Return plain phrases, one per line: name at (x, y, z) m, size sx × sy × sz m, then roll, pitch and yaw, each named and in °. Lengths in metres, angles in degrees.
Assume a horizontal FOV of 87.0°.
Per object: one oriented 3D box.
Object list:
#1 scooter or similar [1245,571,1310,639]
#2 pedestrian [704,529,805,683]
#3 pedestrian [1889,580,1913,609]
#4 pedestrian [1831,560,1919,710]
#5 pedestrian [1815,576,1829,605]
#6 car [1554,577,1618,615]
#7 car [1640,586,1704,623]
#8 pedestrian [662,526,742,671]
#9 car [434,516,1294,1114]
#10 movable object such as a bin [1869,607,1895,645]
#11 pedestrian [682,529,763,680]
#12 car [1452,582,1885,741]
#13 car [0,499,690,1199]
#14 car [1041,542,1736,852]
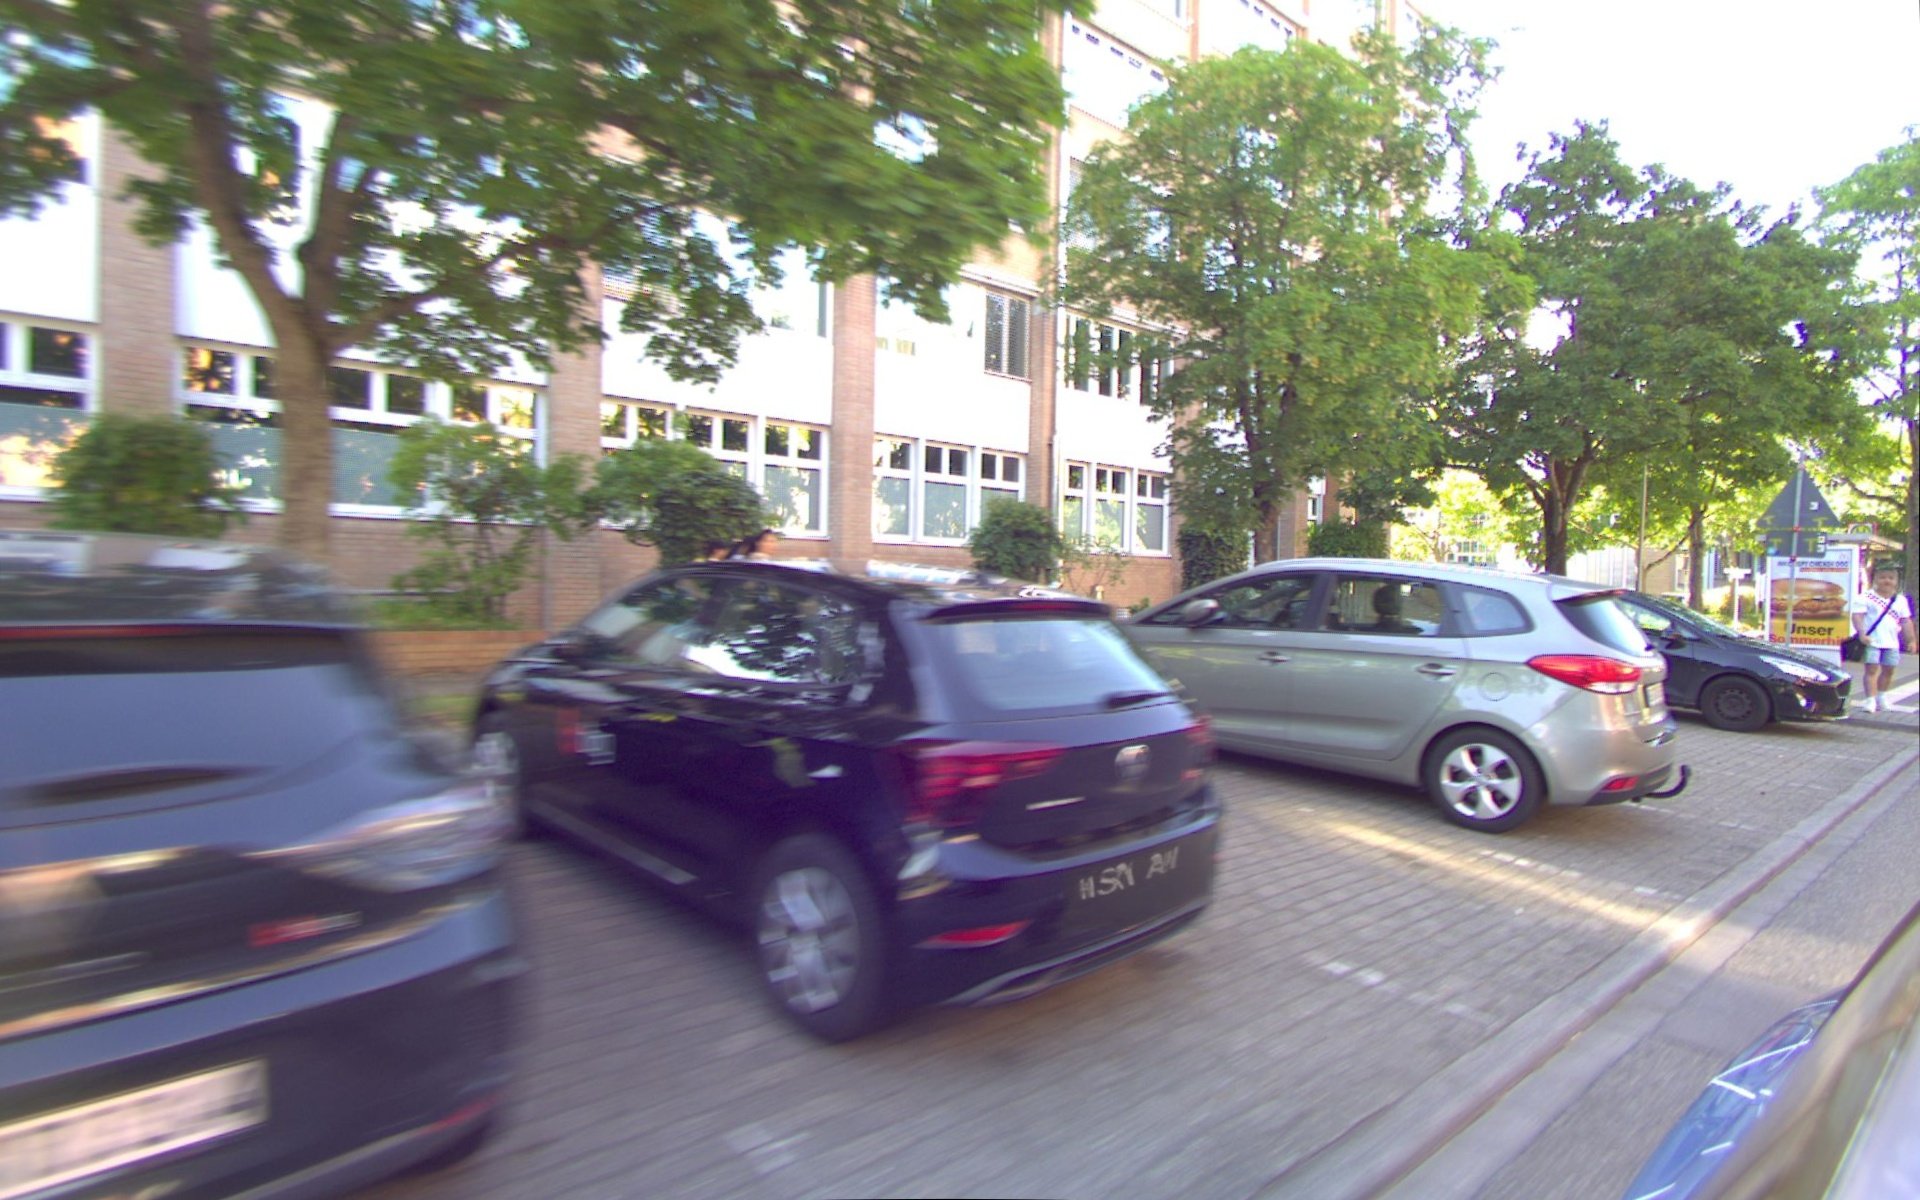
scooter or similar at (6.494, 0.089, 20.656) m, size 0.549 × 1.342 × 1.777 m, roll 0°, pitch 0°, yaw 44°
pedestrian at (-2.073, 0.044, 10.204) m, size 0.703 × 1.476 × 0.701 m, roll 1°, pitch 2°, yaw -43°
pedestrian at (60.456, -0.338, 65.007) m, size 1.001 × 1.821 × 1.036 m, roll 0°, pitch 0°, yaw -41°
pedestrian at (11.353, 0.410, 12.338) m, size 0.916 × 1.731 × 0.689 m, roll 6°, pitch 3°, yaw 36°
pedestrian at (47.666, -0.531, 55.985) m, size 0.537 × 1.602 × 0.639 m, roll 2°, pitch 1°, yaw 40°
car at (25.909, -0.152, 41.807) m, size 1.651 × 1.481 × 3.859 m, roll 2°, pitch 1°, yaw 41°
car at (34.997, 0.171, 49.700) m, size 4.294 × 1.584 × 1.740 m, roll -3°, pitch 3°, yaw -43°
pedestrian at (-2.908, -0.031, 11.404) m, size 0.550 × 1.572 × 0.757 m, roll 1°, pitch 2°, yaw -43°
car at (-0.744, 0.432, 4.444) m, size 3.804 × 1.425 × 1.674 m, roll 6°, pitch 4°, yaw 45°
movable object such as a bin at (19.411, 0.535, 21.305) m, size 0.459 × 0.762 × 0.299 m, roll 0°, pitch 4°, yaw -41°
pedestrian at (-2.524, 0.032, 10.756) m, size 0.584 × 1.539 × 0.603 m, roll 1°, pitch 2°, yaw -43°
car at (8.297, 0.589, 12.121) m, size 1.744 × 1.457 × 3.941 m, roll 0°, pitch 2°, yaw -42°
car at (-2.455, 0.493, 2.742) m, size 1.792 × 1.501 × 3.856 m, roll 1°, pitch 3°, yaw -41°
car at (2.904, 0.424, 7.527) m, size 4.353 × 1.617 × 1.909 m, roll 3°, pitch 2°, yaw 44°
